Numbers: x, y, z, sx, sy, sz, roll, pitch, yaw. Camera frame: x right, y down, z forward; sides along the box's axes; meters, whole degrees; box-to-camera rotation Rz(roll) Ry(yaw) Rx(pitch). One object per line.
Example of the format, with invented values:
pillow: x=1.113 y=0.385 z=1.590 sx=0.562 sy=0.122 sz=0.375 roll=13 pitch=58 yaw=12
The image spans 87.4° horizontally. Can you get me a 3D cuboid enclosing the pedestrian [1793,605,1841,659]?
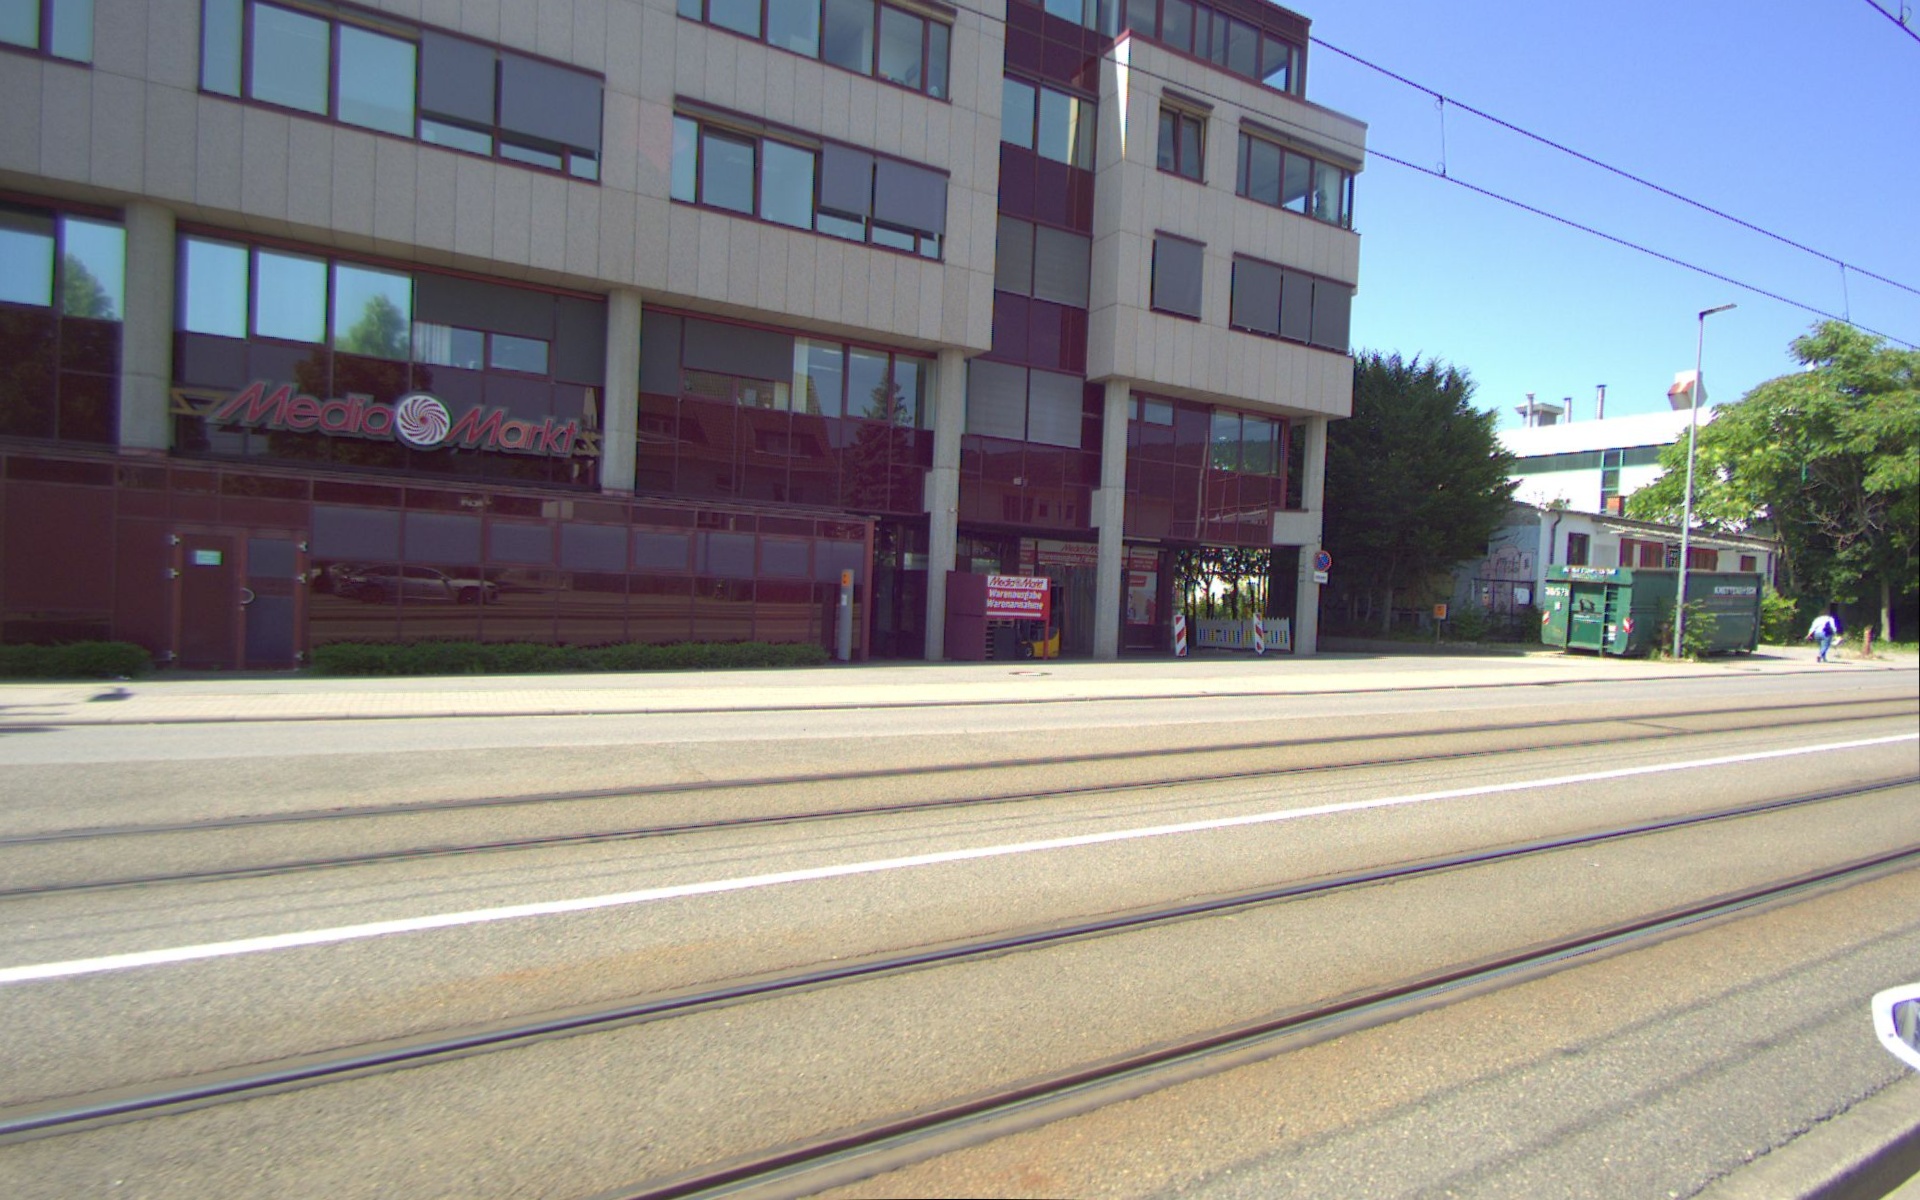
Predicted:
pedestrian: x=25.500 y=0.951 z=29.880 sx=0.828 sy=1.558 sz=0.830 roll=1 pitch=1 yaw=-30

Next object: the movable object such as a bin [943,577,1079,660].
movable object such as a bin: x=1.352 y=0.471 z=26.369 sx=3.061 sy=2.040 sz=1.974 roll=2 pitch=0 yaw=-43
